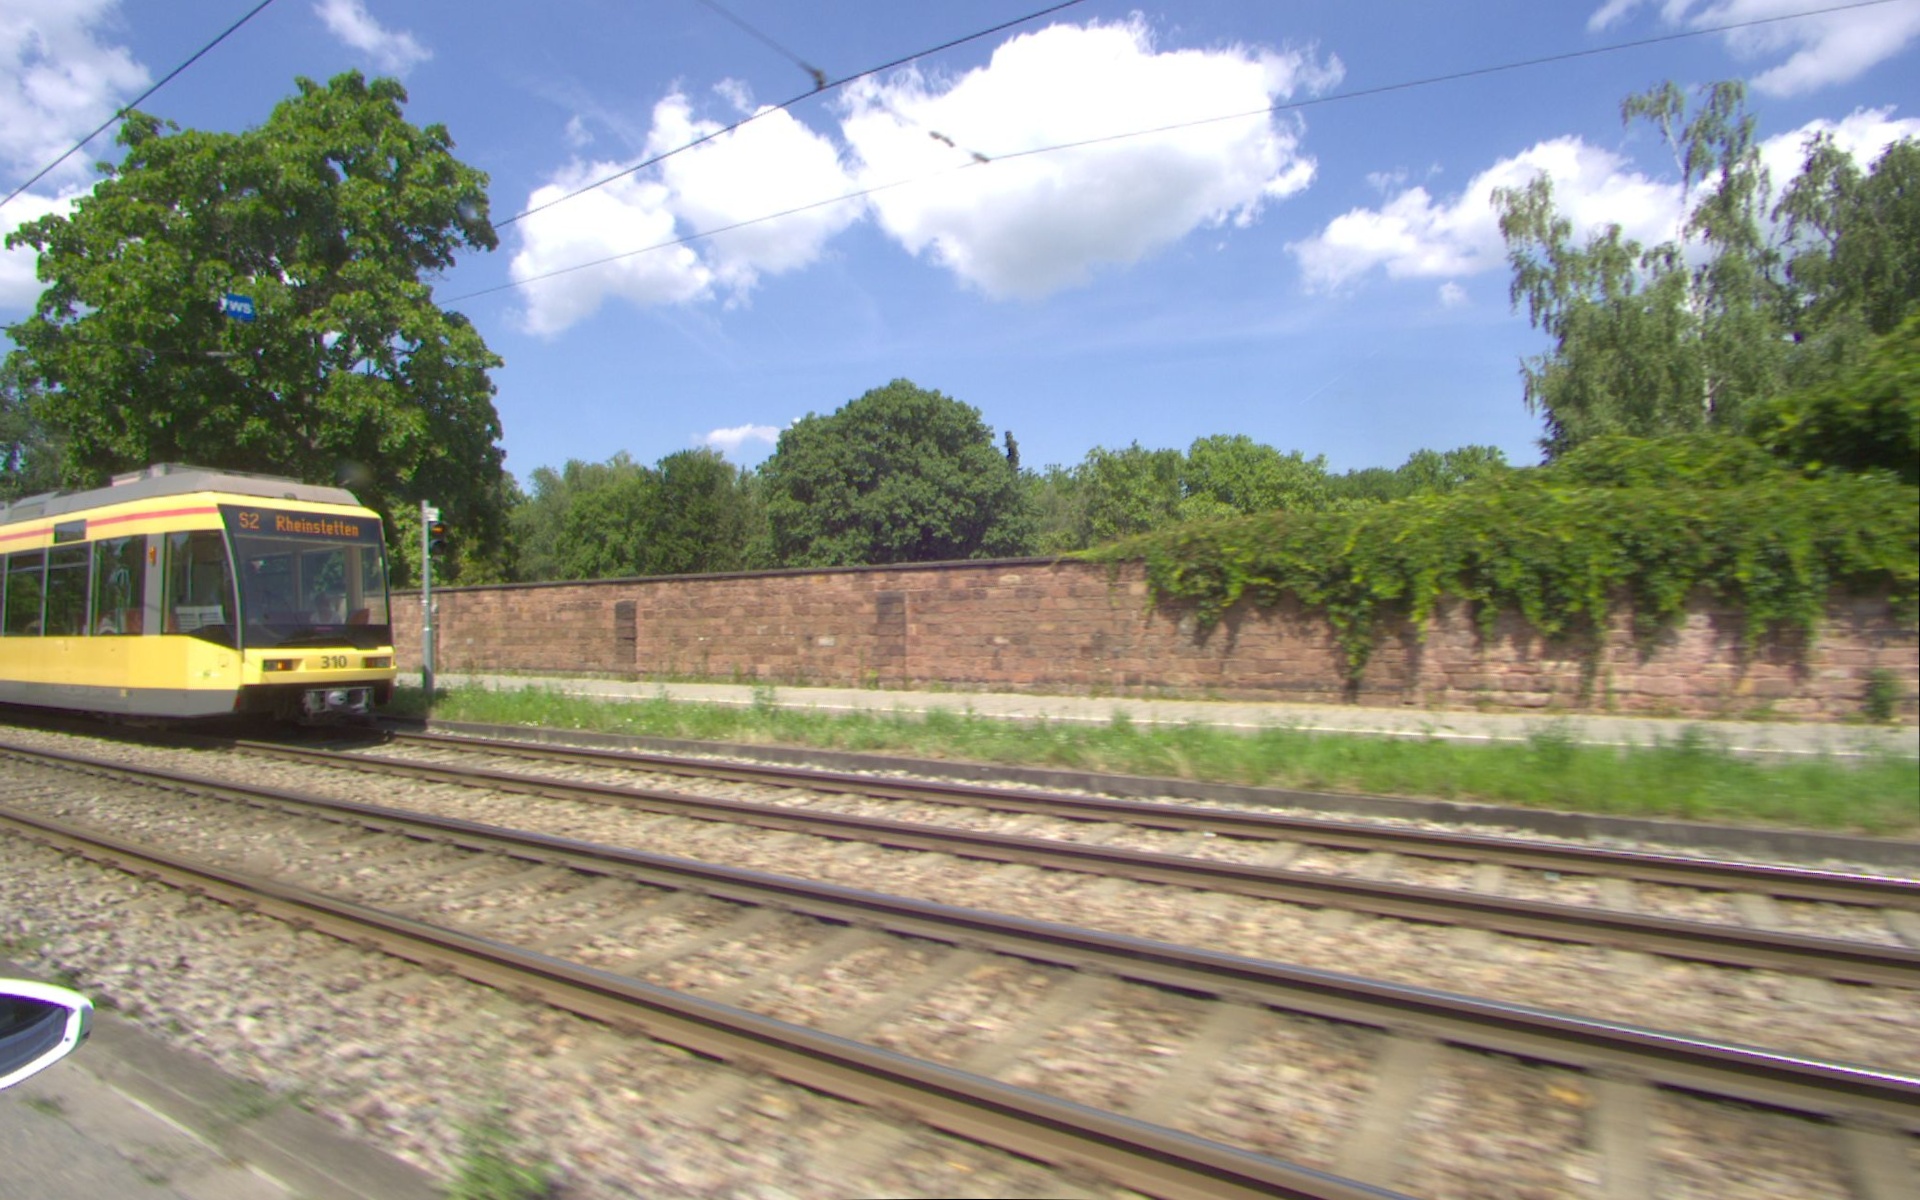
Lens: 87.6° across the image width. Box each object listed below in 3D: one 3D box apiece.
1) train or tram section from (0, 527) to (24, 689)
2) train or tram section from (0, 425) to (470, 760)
[{"bbox_3d":[-31.238,0.271,27.374,19.986,3.739,2.940,-1,-2,31],"label":"train or tram section"},{"bbox_3d":[-15.146,0.067,17.299,18.125,3.739,2.939,-1,-2,32],"label":"train or tram section"}]
